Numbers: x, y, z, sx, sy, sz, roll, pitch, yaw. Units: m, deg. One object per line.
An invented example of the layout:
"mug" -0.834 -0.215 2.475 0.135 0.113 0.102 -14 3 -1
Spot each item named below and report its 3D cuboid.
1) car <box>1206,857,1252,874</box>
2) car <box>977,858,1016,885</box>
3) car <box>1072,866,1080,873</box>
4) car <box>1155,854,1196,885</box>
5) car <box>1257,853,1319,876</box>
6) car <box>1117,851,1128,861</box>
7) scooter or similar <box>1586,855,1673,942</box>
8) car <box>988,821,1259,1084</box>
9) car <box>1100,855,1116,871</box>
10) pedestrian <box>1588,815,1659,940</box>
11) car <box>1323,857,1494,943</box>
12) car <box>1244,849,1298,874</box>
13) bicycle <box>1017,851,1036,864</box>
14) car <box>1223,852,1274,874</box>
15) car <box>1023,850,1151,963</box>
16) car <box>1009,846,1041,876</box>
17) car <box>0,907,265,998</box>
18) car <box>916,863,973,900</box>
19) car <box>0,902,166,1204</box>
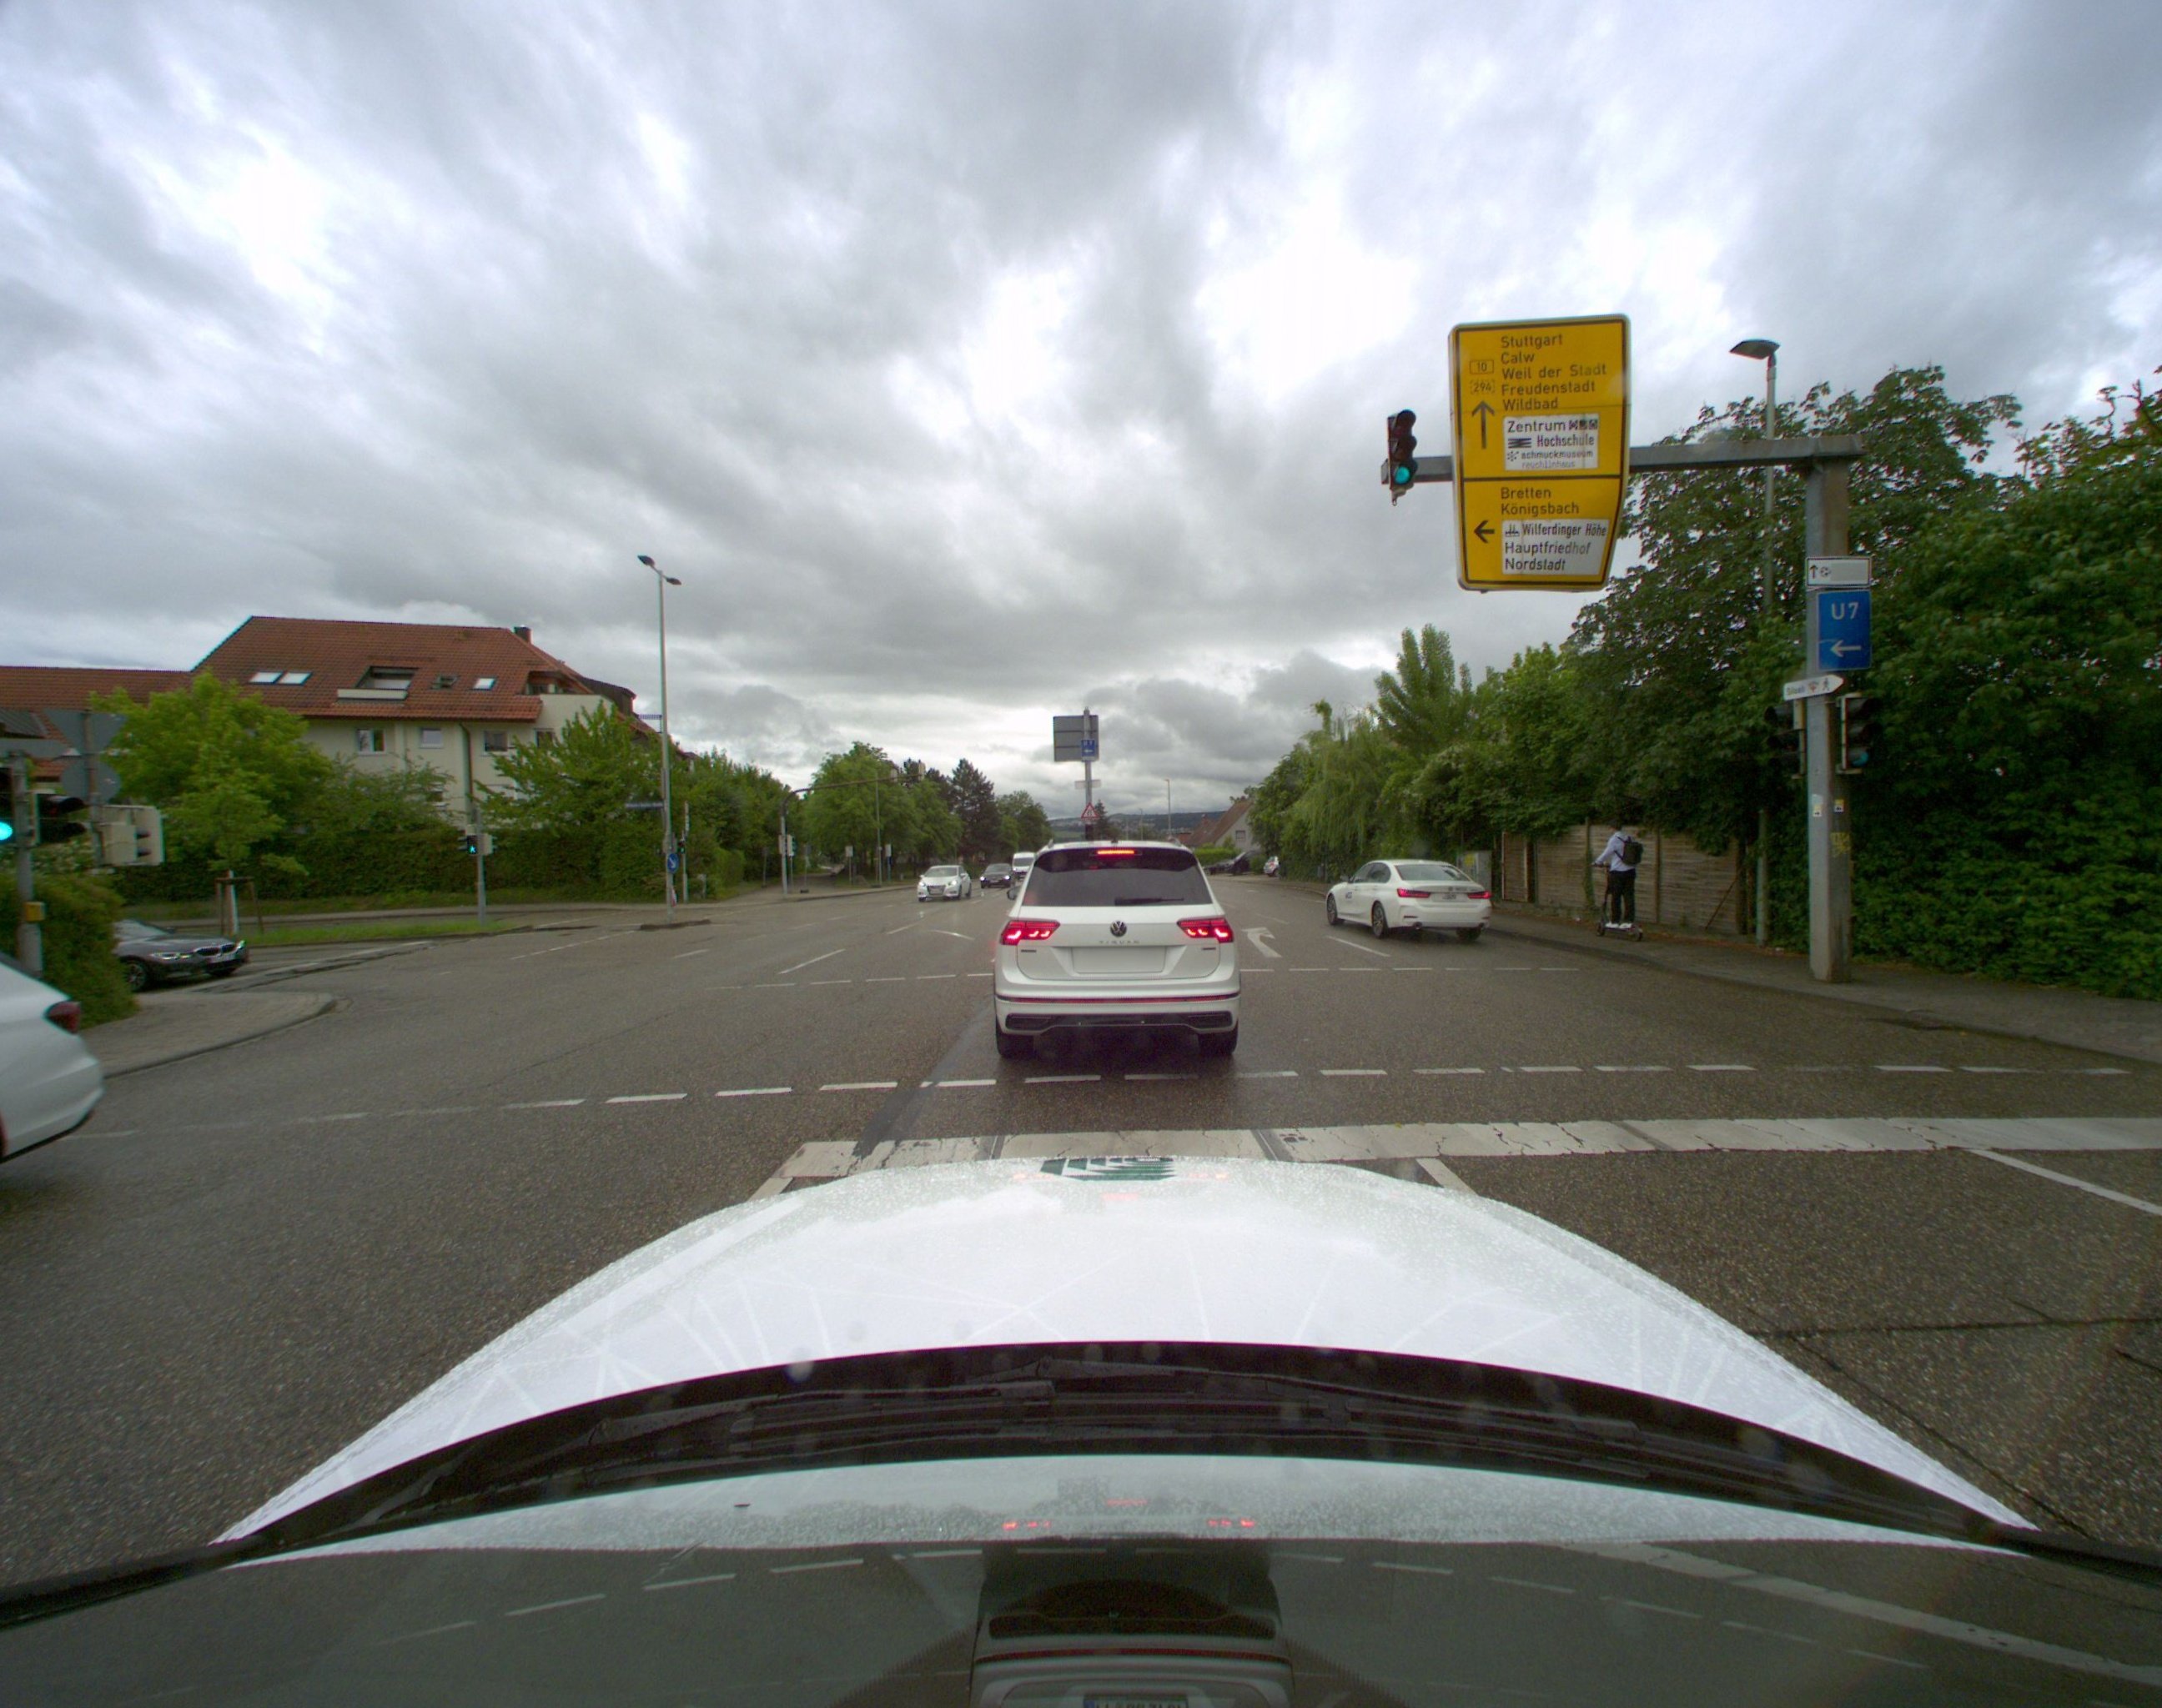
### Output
"car" 12.500 0.998 68.868 3.675 1.370 1.518 -1 -2 0
"car" -5.228 1.068 50.930 1.770 1.502 4.472 -3 0 1
"car" -1.197 3.737 199.449 1.986 1.728 4.001 0 -1 2
"car" 5.014 0.816 43.669 1.730 1.575 4.067 0 0 0
"car" 14.261 0.727 56.221 3.709 1.395 1.725 -2 -1 -6
"car" 7.470 0.339 145.687 1.843 1.574 4.002 -2 0 2
"scooter or similar" 9.055 0.702 13.501 0.460 1.361 1.384 -1 0 -2
"car" 0.317 0.646 7.469 1.756 1.696 4.273 1 0 1
"car" 3.200 1.079 96.295 1.706 1.758 3.802 -2 0 1
"pedestrian" 8.982 0.384 13.508 0.654 2.002 0.717 -1 -1 -2
"car" 6.182 0.789 15.932 1.659 1.427 4.305 0 0 0
"car" 14.370 0.539 61.732 3.618 1.746 1.707 -1 2 -2
"bicycle" -5.039 0.332 75.337 1.631 1.126 0.468 -3 0 0
"car" 13.178 0.701 64.089 3.618 1.626 1.790 -1 1 -3
"car" 0.141 0.748 13.538 1.792 1.589 3.927 -1 0 2
"car" -4.937 0.604 72.211 2.289 2.528 5.774 -2 0 1
"car" -19.922 2.000 16.636 4.412 1.393 1.774 -4 0 -5
"car" -5.745 1.134 34.570 1.740 1.397 3.801 -2 0 0
"car" -6.372 1.049 2.595 1.961 1.454 4.308 -3 -1 0
